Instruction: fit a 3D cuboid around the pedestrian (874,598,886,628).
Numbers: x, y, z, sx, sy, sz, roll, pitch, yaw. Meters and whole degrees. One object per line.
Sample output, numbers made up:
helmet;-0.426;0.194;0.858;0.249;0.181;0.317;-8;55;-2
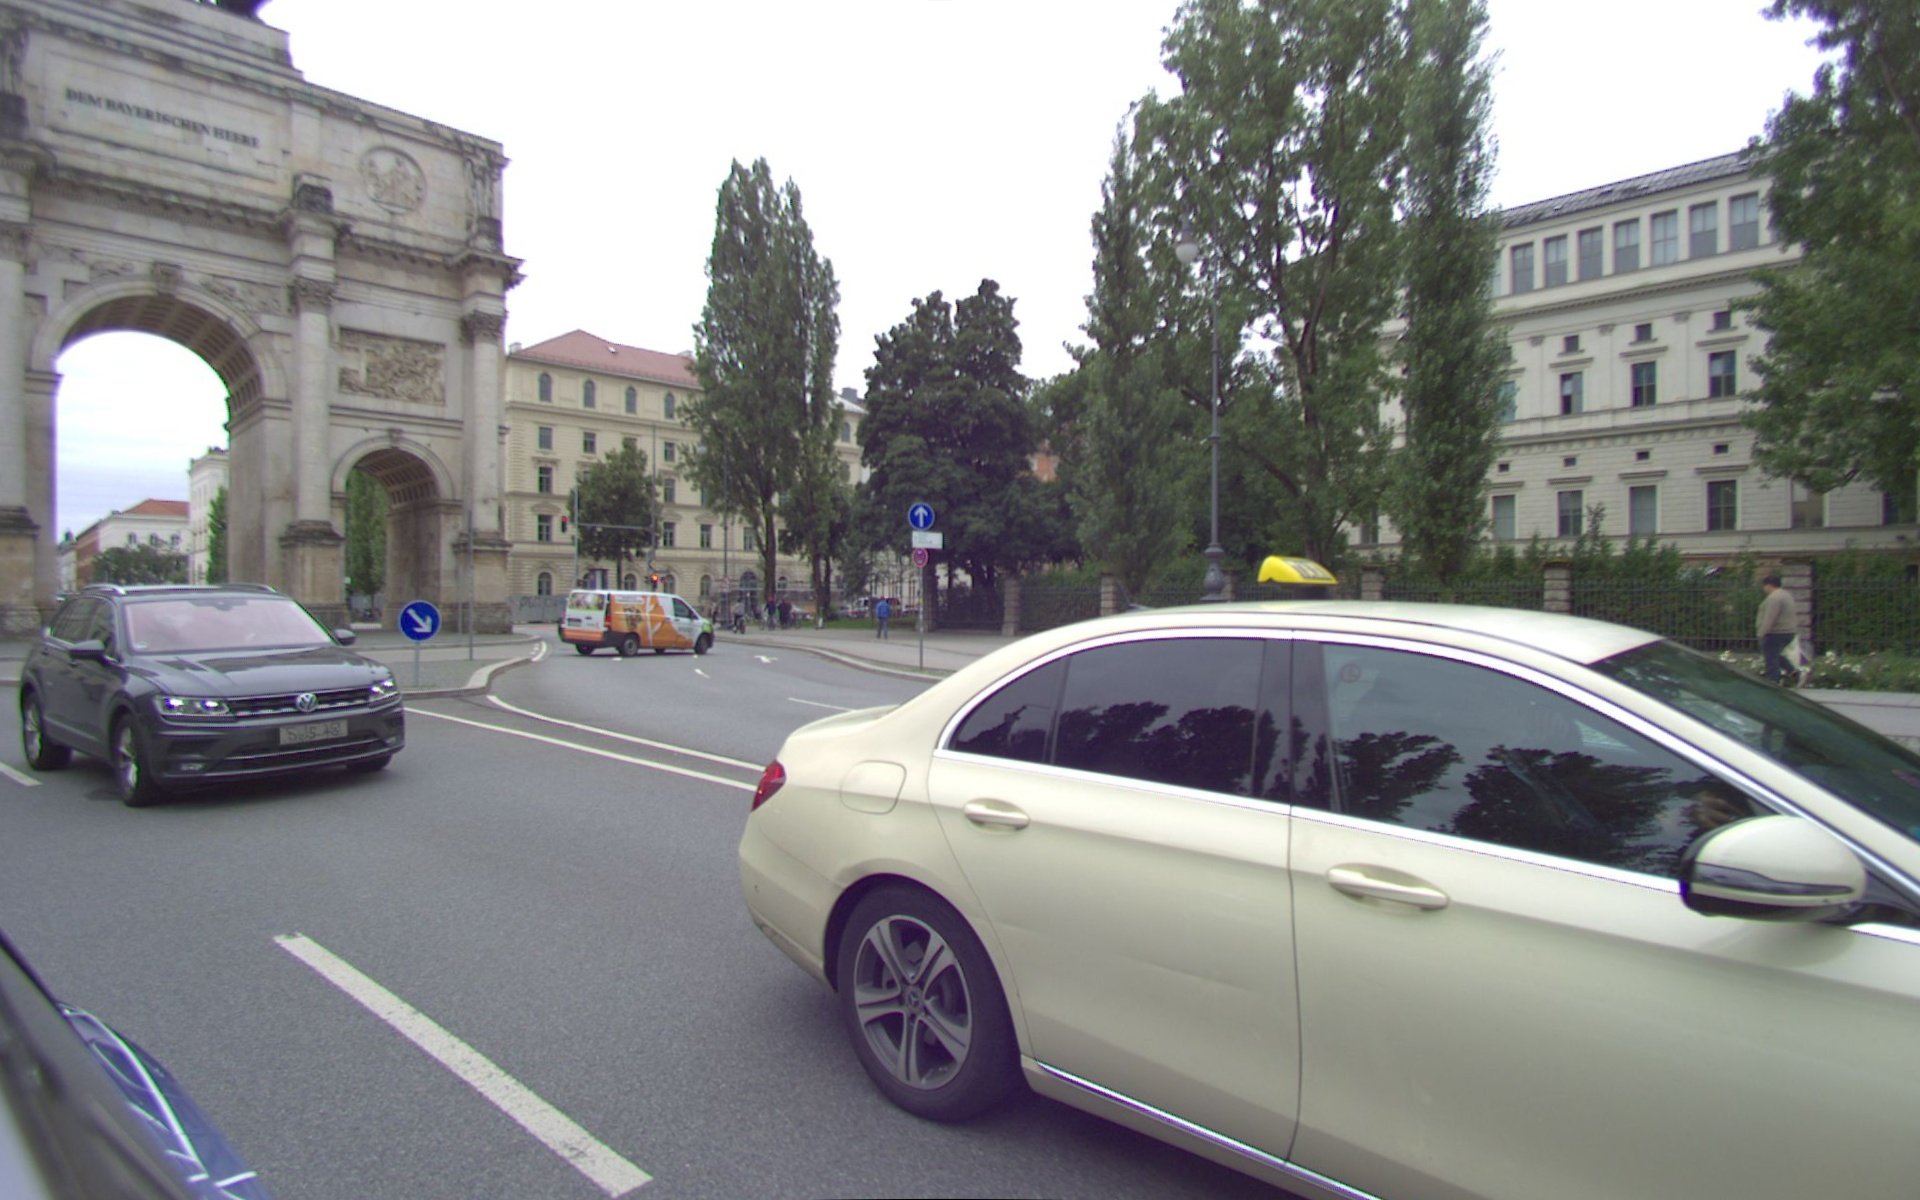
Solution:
pedestrian;-5.390;0.888;67.883;0.593;2.029;0.527;-1;-1;35

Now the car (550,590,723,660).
car;-9.523;0.728;30.253;1.996;1.869;4.943;1;-1;28

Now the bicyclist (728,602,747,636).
bicyclist;-11.207;0.957;50.949;0.633;1.722;0.861;0;-1;-40

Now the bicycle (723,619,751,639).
bicycle;-11.252;1.450;50.993;0.633;0.981;1.765;0;-1;-40

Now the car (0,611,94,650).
car;-47.144;1.528;51.663;1.891;1.871;4.252;0;0;42

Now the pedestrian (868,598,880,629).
pedestrian;-5.745;0.893;67.426;0.593;2.029;0.527;-1;-1;35

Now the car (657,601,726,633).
car;-17.533;1.061;66.249;2.001;2.029;3.941;-1;-1;45

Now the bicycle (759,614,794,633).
bicycle;-9.775;1.239;53.862;1.738;0.981;0.643;0;-1;3

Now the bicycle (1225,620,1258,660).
bicycle;7.893;1.106;28.435;0.629;1.072;1.735;0;-1;8

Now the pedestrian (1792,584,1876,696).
pedestrian;13.776;0.614;15.972;0.966;1.691;0.835;-1;-1;41

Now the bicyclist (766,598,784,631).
bicyclist;-9.859;0.761;53.904;0.849;1.722;0.643;0;-1;3

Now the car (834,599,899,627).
car;-6.923;0.954;75.150;4.446;2.029;2.003;0;-1;-42

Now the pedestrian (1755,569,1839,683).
pedestrian;12.948;0.393;15.652;0.966;1.691;0.835;-1;-1;41

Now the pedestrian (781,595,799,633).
pedestrian;-9.182;0.773;54.645;0.748;2.029;0.792;0;-1;10

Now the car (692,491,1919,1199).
car;1.493;0.614;2.524;4.688;1.586;1.895;0;2;42

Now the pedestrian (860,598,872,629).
pedestrian;-6.291;0.898;67.759;0.593;2.029;0.527;-1;-1;35

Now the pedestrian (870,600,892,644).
pedestrian;-3.306;0.912;42.235;0.741;1.799;0.918;0;-1;-18

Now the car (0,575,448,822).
car;-6.589;0.650;8.881;4.403;1.636;1.931;0;2;36
